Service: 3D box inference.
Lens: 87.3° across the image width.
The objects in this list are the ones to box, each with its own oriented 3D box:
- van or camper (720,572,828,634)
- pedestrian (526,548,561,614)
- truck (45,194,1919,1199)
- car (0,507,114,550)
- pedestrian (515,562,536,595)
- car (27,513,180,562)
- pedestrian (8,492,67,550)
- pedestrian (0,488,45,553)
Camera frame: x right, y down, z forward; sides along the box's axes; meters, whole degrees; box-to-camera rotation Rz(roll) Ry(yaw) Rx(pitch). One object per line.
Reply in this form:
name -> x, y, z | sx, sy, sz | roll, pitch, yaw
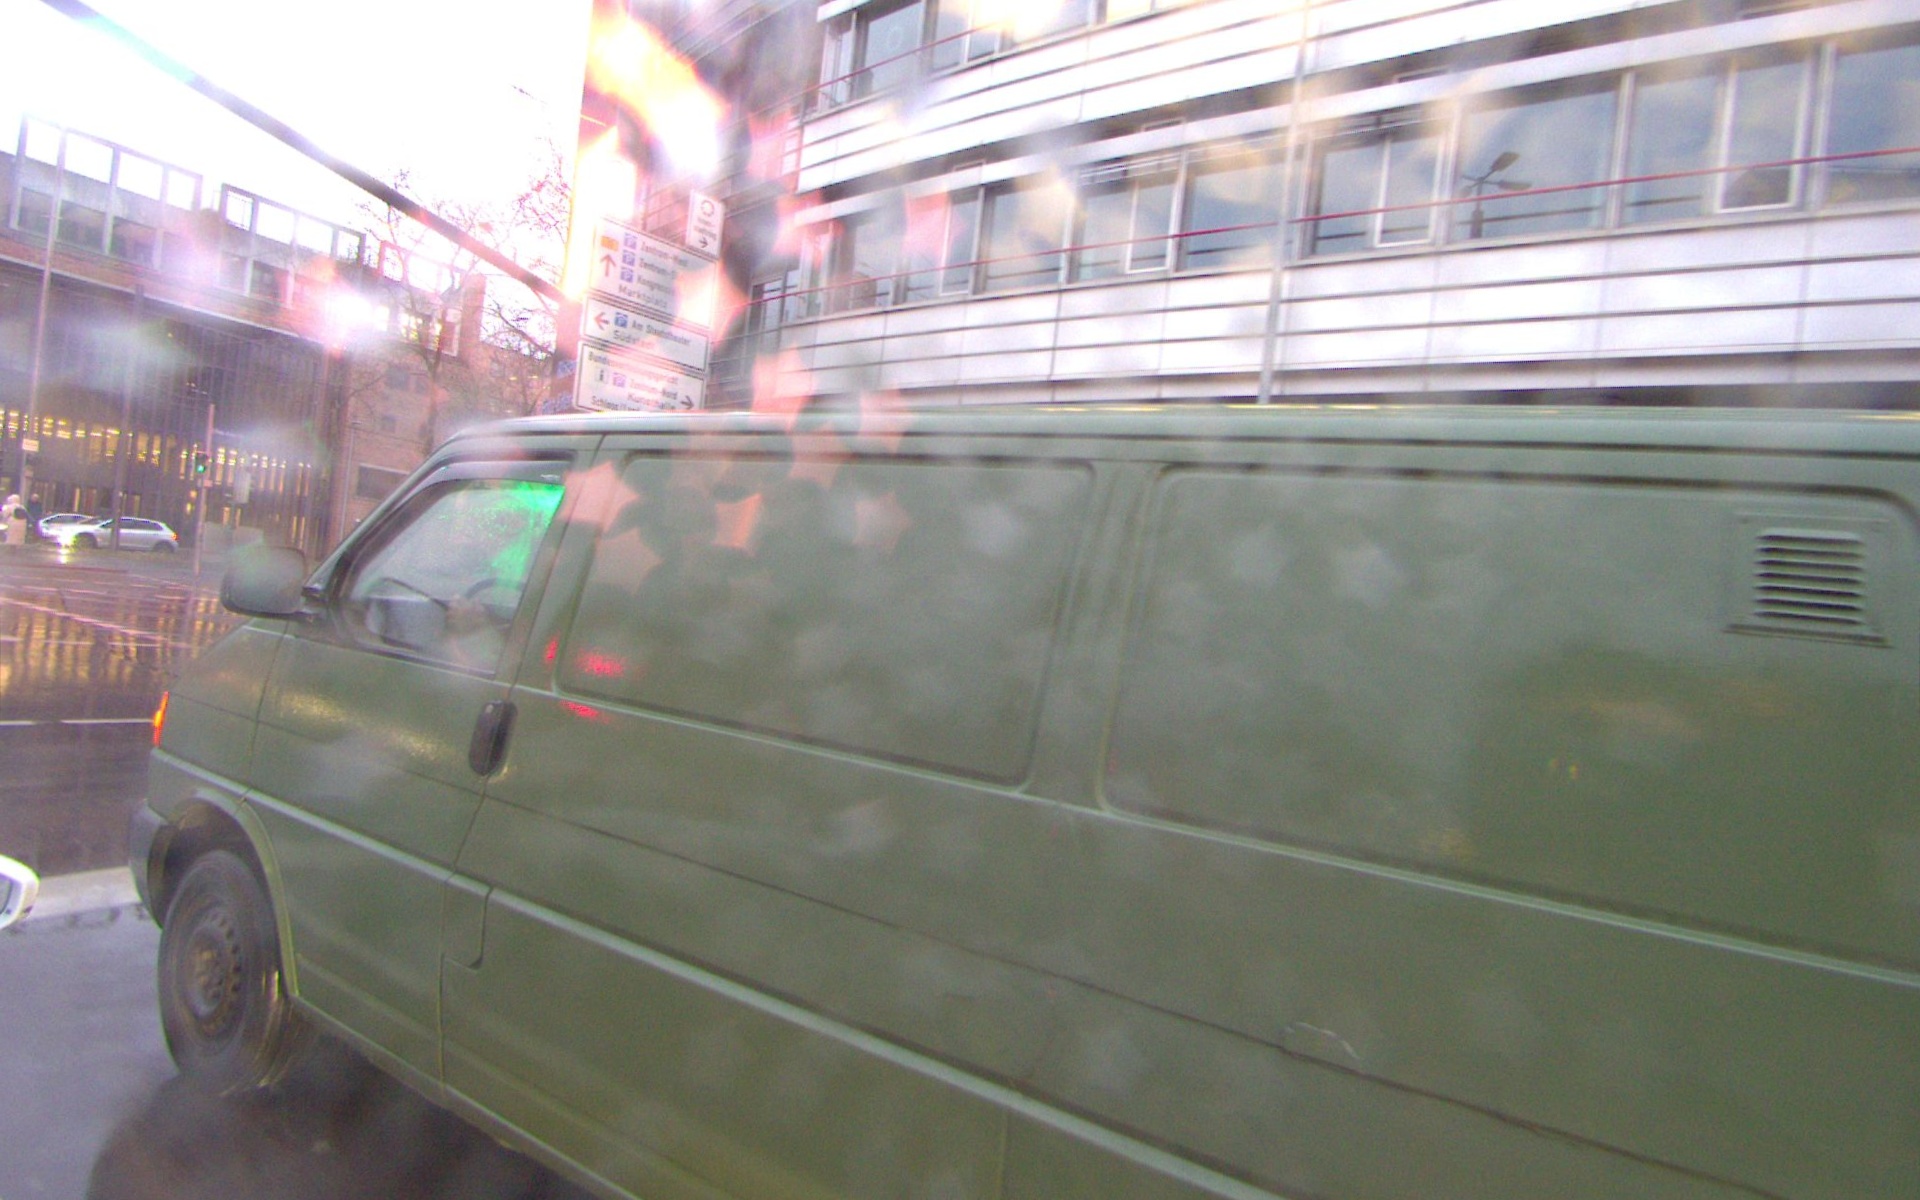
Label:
van or camper -> -7.168, 0.177, 39.295 | 1.807, 1.952, 4.749 | 6, -1, 20
pedestrian -> -12.099, -0.548, 29.223 | 0.640, 1.833, 0.798 | 6, 0, -12
truck -> -0.317, 0.487, 2.776 | 4.540, 1.939, 1.908 | 6, -2, 31
car -> -39.500, -3.119, 43.527 | 1.781, 1.326, 3.993 | 6, -1, 23
pedestrian -> -19.322, -0.960, 44.736 | 0.470, 1.381, 0.606 | 7, 1, 30
car -> -32.322, -2.329, 38.090 | 1.782, 1.358, 3.989 | 6, 1, 24
pedestrian -> -31.549, -2.693, 34.428 | 0.763, 1.809, 1.152 | 6, 0, 22
pedestrian -> -28.178, -2.366, 30.160 | 0.721, 1.809, 0.736 | 6, 0, 18
